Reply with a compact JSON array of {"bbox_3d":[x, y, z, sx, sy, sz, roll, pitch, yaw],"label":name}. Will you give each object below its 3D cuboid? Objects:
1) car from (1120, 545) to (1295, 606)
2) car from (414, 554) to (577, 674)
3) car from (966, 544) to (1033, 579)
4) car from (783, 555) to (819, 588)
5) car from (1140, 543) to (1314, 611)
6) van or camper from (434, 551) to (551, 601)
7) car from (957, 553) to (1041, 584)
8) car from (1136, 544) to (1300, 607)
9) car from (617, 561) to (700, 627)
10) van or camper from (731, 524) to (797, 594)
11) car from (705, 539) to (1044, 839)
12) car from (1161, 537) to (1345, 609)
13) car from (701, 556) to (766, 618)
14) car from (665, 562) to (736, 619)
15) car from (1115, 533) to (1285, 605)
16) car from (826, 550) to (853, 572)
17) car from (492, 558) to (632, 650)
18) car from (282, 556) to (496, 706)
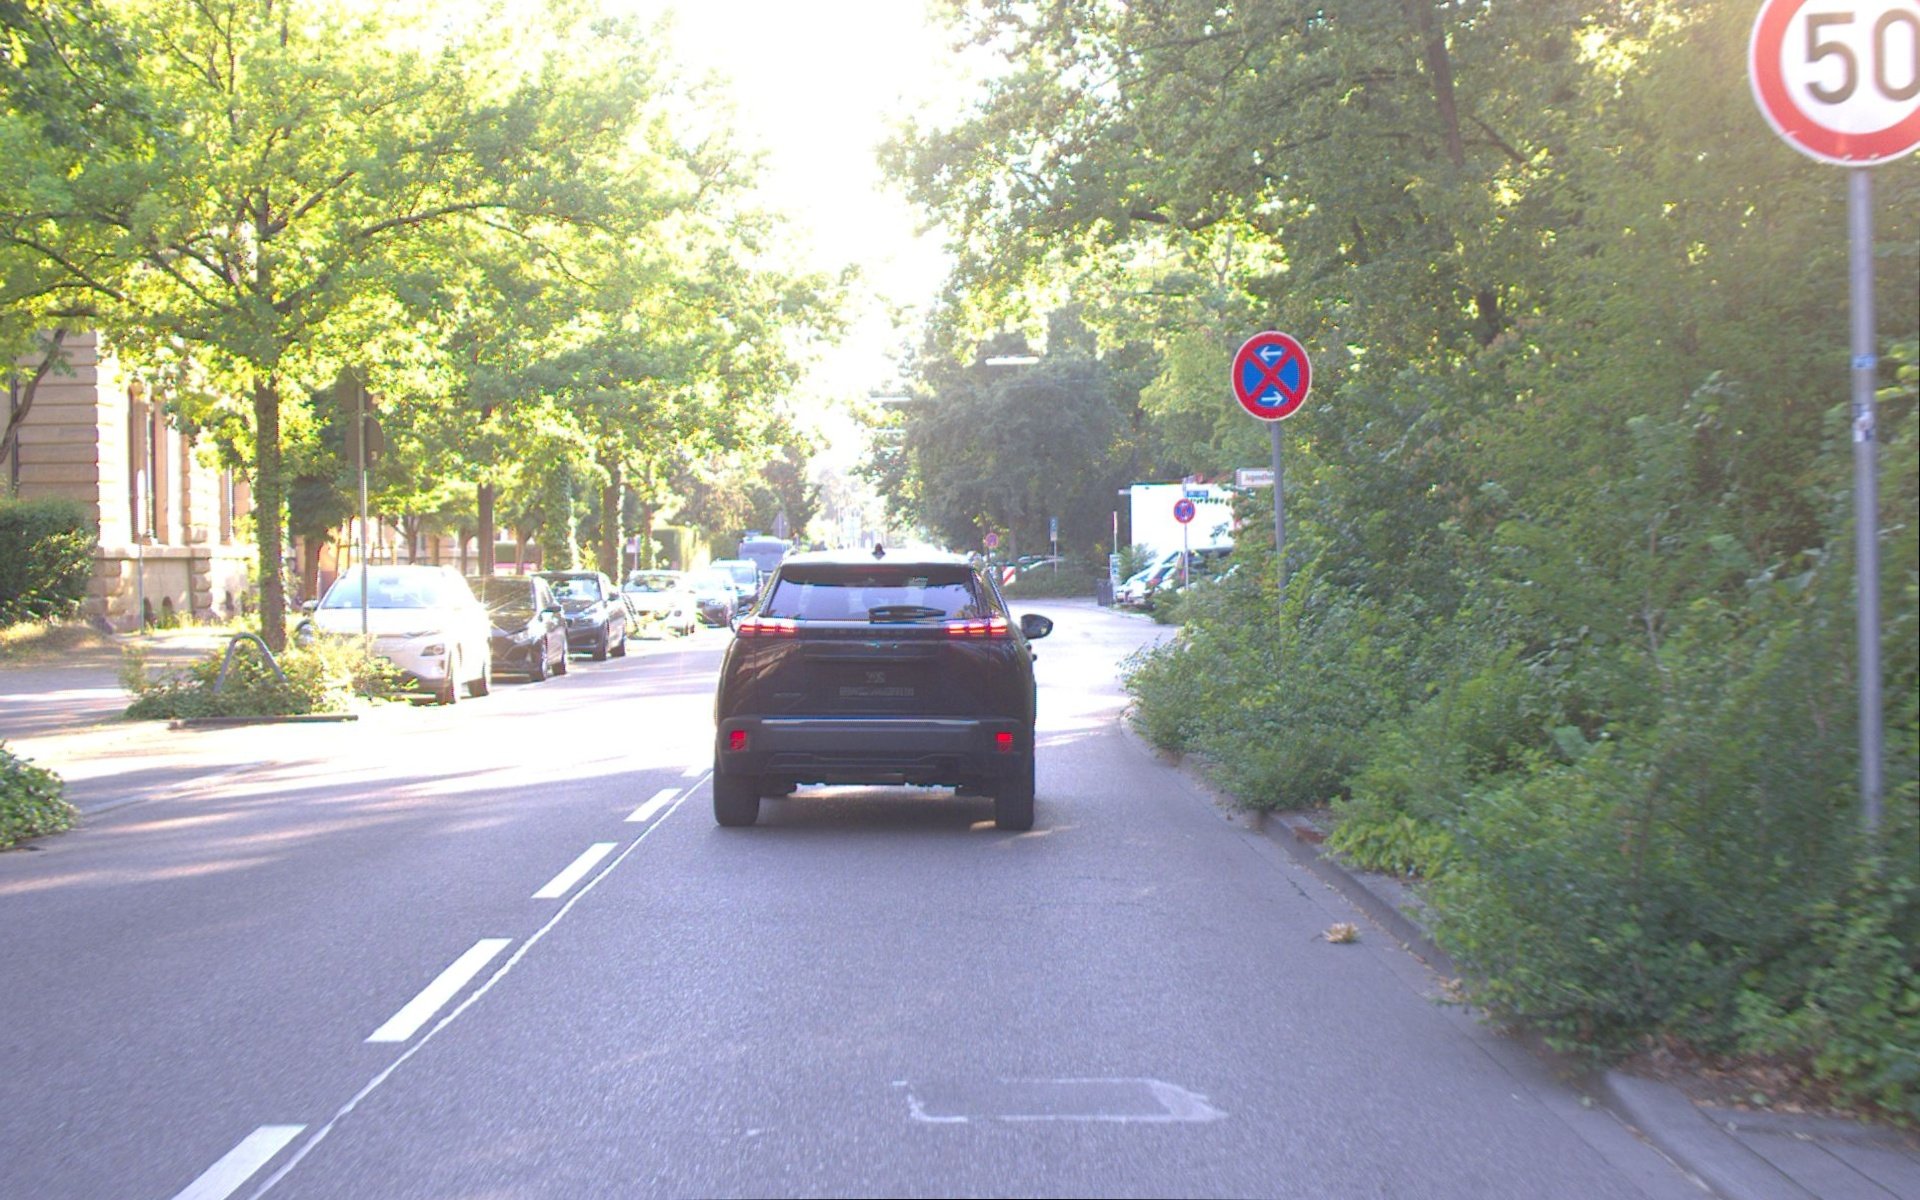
[{"bbox_3d":[7.264,-0.733,101.351,4.926,1.548,1.916,-3,1,-1],"label":"car"},{"bbox_3d":[-6.442,0.167,48.037,1.780,1.610,4.147,0,1,-1],"label":"car"},{"bbox_3d":[2.422,-2.361,211.986,3.986,2.082,1.758,-1,0,-5],"label":"car"},{"bbox_3d":[-7.624,-1.362,164.722,1.613,1.510,3.712,-3,1,-2],"label":"car"},{"bbox_3d":[7.028,-0.616,90.853,4.362,1.548,1.876,-3,1,-1],"label":"car"},{"bbox_3d":[-20.567,-1.060,151.414,4.768,1.979,2.001,-1,5,2],"label":"van or camper"},{"bbox_3d":[2.021,-1.657,180.166,4.242,1.444,2.022,-2,1,-3],"label":"car"},{"bbox_3d":[7.220,-0.684,96.557,4.362,1.532,1.921,-3,1,-1],"label":"car"},{"bbox_3d":[-6.938,-0.159,79.408,1.617,1.491,3.925,0,1,-1],"label":"car"},{"bbox_3d":[-7.346,-1.540,129.461,2.229,2.536,7.080,1,0,-1],"label":"van or camper"},{"bbox_3d":[-0.471,0.433,20.093,1.771,1.563,4.109,0,1,-1],"label":"car"},{"bbox_3d":[7.288,-0.672,85.791,4.362,1.548,1.727,-3,1,-1],"label":"car"},{"bbox_3d":[-7.198,-0.435,109.798,1.777,1.859,4.332,1,1,0],"label":"car"},{"bbox_3d":[-6.936,-0.268,92.163,1.617,1.491,4.377,0,1,-1],"label":"car"},{"bbox_3d":[7.220,-0.940,103.668,4.852,1.909,1.916,-3,1,-1],"label":"car"},{"bbox_3d":[-8.826,-2.840,252.493,1.899,1.568,4.000,-1,1,-1],"label":"car"},{"bbox_3d":[-6.778,0.044,58.971,1.802,1.505,4.862,0,1,0],"label":"car"},{"bbox_3d":[-6.507,0.316,39.569,1.803,1.610,4.147,-1,1,-1],"label":"car"}]
